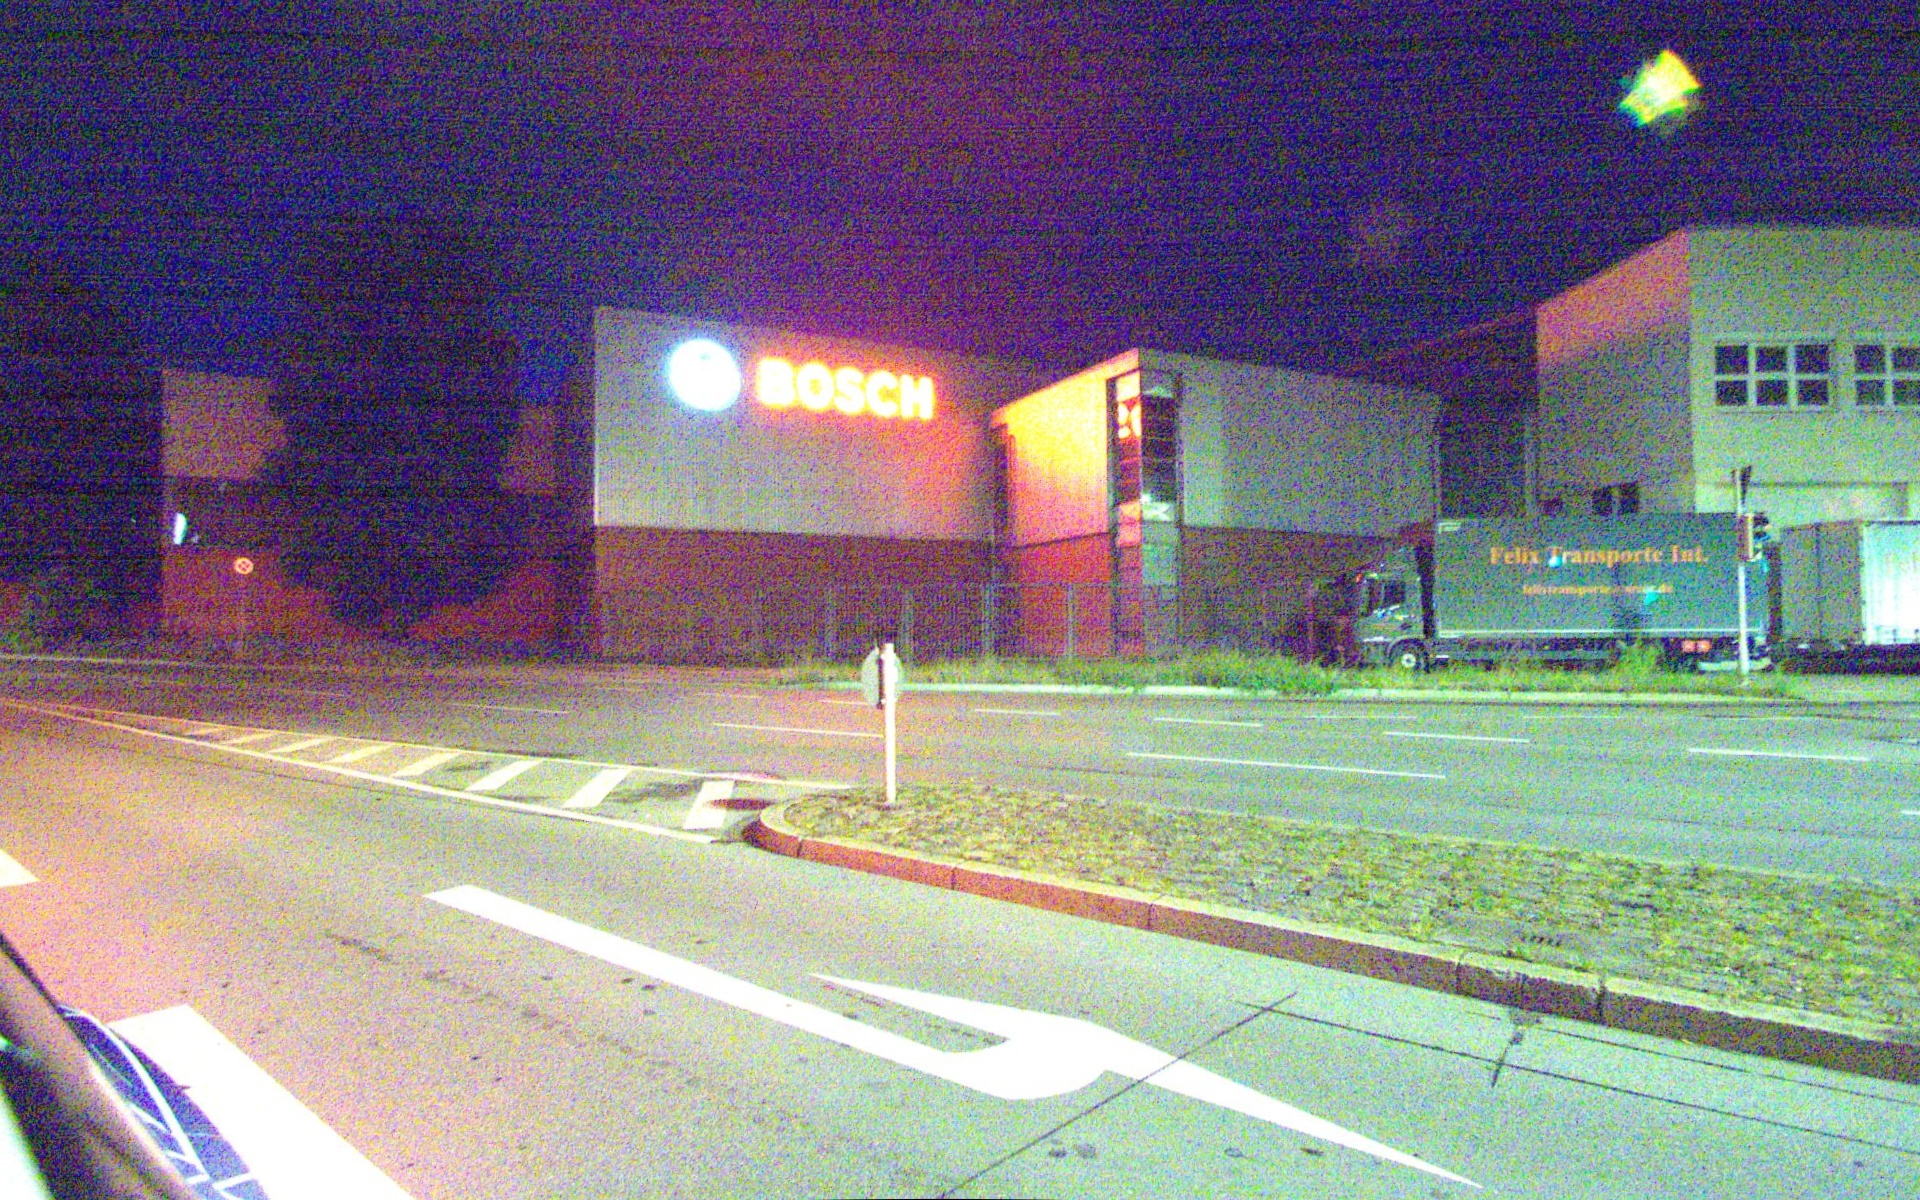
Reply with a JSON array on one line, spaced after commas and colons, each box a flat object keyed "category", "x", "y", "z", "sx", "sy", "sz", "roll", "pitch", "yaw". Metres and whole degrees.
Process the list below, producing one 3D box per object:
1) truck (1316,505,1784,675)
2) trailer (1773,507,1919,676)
[{"category": "truck", "x": 13.975, "y": -0.224, "z": 24.768, "sx": 9.439, "sy": 3.825, "sz": 2.942, "roll": 0, "pitch": -1, "yaw": 6}, {"category": "trailer", "x": 23.719, "y": -0.166, "z": 24.053, "sx": 6.430, "sy": 3.819, "sz": 2.619, "roll": 0, "pitch": -1, "yaw": 4}]
